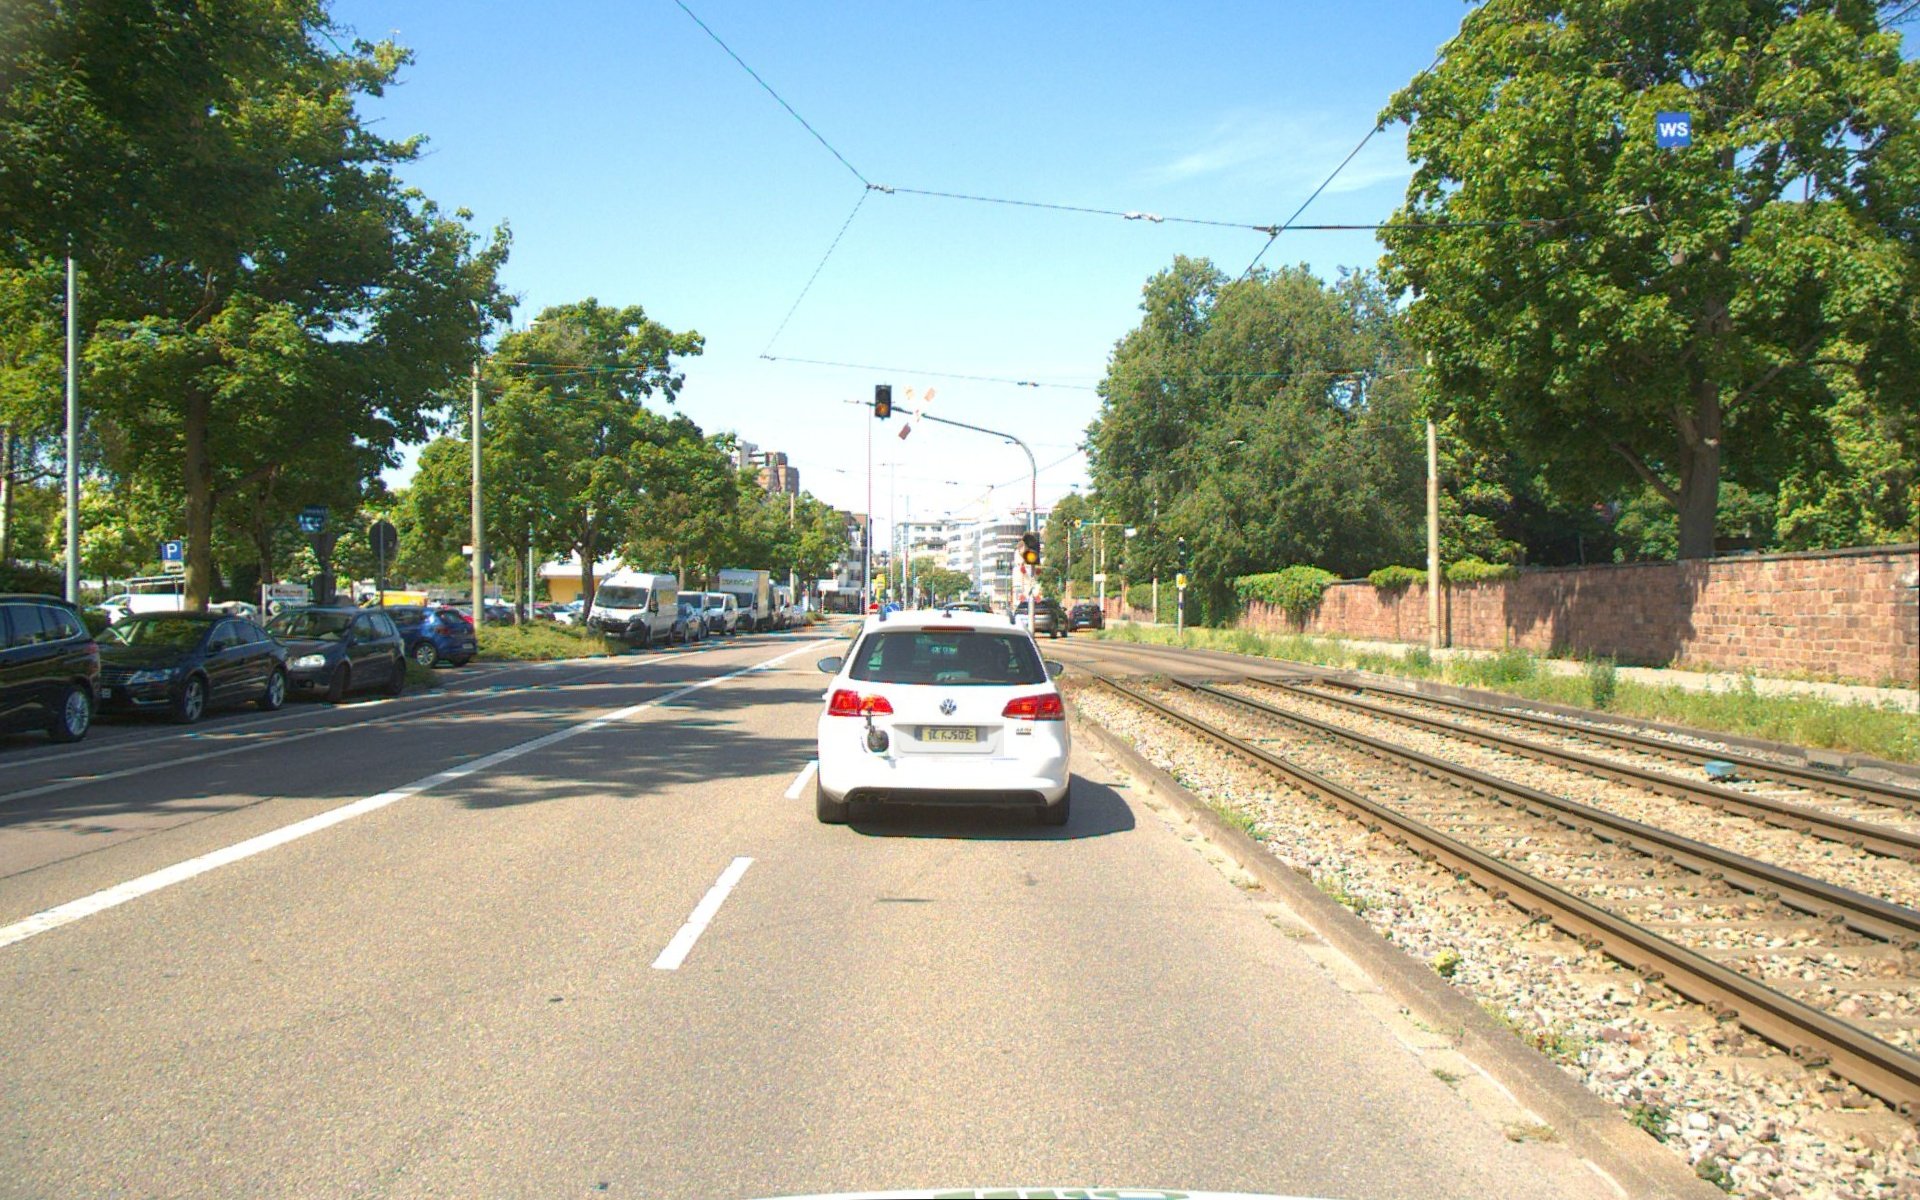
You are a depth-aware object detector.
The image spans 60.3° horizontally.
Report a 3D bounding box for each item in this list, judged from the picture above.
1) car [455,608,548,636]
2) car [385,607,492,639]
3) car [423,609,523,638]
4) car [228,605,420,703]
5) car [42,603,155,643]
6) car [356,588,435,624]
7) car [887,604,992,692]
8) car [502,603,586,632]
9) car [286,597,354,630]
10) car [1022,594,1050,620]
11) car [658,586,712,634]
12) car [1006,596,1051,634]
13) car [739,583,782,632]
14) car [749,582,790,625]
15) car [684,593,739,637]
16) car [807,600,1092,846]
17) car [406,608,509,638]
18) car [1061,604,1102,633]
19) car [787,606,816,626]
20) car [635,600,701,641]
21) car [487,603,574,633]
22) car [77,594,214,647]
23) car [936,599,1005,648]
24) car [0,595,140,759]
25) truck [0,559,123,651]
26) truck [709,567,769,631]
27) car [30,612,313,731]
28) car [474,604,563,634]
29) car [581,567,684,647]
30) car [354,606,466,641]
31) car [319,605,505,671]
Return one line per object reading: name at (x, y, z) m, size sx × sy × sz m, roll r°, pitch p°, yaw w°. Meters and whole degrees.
car at (-21.785, 1.036, 78.743) m, size 3.904 × 1.246 × 1.772 m, roll 0°, pitch 0°, yaw 2°
car at (-21.807, 0.963, 69.243) m, size 3.904 × 1.286 × 1.772 m, roll 0°, pitch 0°, yaw 2°
car at (-21.843, 1.046, 74.289) m, size 3.904 × 1.246 × 1.772 m, roll 0°, pitch 0°, yaw 2°
car at (-10.559, 0.854, 27.751) m, size 1.608 × 1.476 × 4.004 m, roll 2°, pitch 0°, yaw 0°
car at (-34.539, 0.903, 66.344) m, size 3.694 × 1.380 × 1.558 m, roll 3°, pitch 0°, yaw 3°
car at (-34.702, 0.397, 101.693) m, size 4.175 × 2.049 × 1.997 m, roll 2°, pitch -1°, yaw -7°
car at (-0.362, 0.804, 29.575) m, size 1.710 × 1.412 × 3.912 m, roll 2°, pitch 0°, yaw -1°
car at (-21.723, 0.911, 86.429) m, size 3.904 × 1.469 × 1.772 m, roll 0°, pitch 0°, yaw 2°
car at (-37.340, 0.782, 96.552) m, size 3.354 × 1.909 × 1.552 m, roll 0°, pitch 0°, yaw -3°
car at (7.743, 0.704, 168.878) m, size 2.413 × 2.542 × 5.908 m, roll 2°, pitch -1°, yaw -1°
car at (-11.744, 0.406, 70.875) m, size 1.807 × 1.971 × 5.189 m, roll 0°, pitch 0°, yaw -4°
car at (2.945, 0.627, 70.946) m, size 1.822 × 1.539 × 3.914 m, roll 2°, pitch 0°, yaw 3°
car at (-11.176, 0.411, 93.078) m, size 1.806 × 2.715 × 5.003 m, roll 0°, pitch 0°, yaw 0°
car at (-11.606, 0.184, 101.174) m, size 1.806 × 2.538 × 5.856 m, roll 0°, pitch 0°, yaw 0°
car at (-11.518, 0.669, 76.859) m, size 1.806 × 1.995 × 5.133 m, roll 0°, pitch 0°, yaw 0°
car at (-0.117, 0.771, 12.277) m, size 1.732 × 1.471 × 3.912 m, roll 2°, pitch 0°, yaw -2°
car at (-21.772, 1.004, 71.715) m, size 3.904 × 1.246 × 1.772 m, roll 0°, pitch 0°, yaw 2°
car at (6.327, 0.945, 85.600) m, size 1.708 × 1.432 × 3.916 m, roll 2°, pitch 0°, yaw 10°
car at (-11.645, 1.155, 121.544) m, size 1.744 × 1.458 × 4.037 m, roll 0°, pitch 0°, yaw -1°
car at (-11.218, 0.765, 63.778) m, size 1.806 × 1.543 × 4.196 m, roll 0°, pitch 0°, yaw -1°
car at (-21.771, 0.917, 83.883) m, size 3.904 × 1.469 × 1.772 m, roll 0°, pitch 0°, yaw 2°
car at (-33.856, 0.854, 68.877) m, size 4.602 × 2.049 × 1.997 m, roll 2°, pitch -1°, yaw -6°
car at (0.384, 0.733, 52.765) m, size 1.822 × 1.441 × 4.327 m, roll 2°, pitch 0°, yaw 5°
car at (-10.536, 0.772, 17.103) m, size 1.726 × 1.634 × 4.893 m, roll 1°, pitch 0°, yaw -1°
truck at (-33.869, 0.075, 58.654) m, size 6.999 × 3.071 × 2.230 m, roll 3°, pitch 0°, yaw -3°
truck at (-11.413, -0.030, 85.895) m, size 2.308 × 3.177 × 6.889 m, roll 0°, pitch 0°, yaw -2°
car at (-10.598, 0.895, 22.669) m, size 1.656 × 1.404 × 4.781 m, roll 0°, pitch 0°, yaw -1°
car at (-21.698, 0.935, 81.381) m, size 3.904 × 1.426 × 1.772 m, roll 0°, pitch 0°, yaw 2°
car at (-11.250, 0.226, 57.338) m, size 2.016 × 2.544 × 6.308 m, roll 2°, pitch 0°, yaw 2°
car at (-22.133, 0.926, 66.675) m, size 3.904 × 1.374 × 1.772 m, roll 0°, pitch 0°, yaw 2°
car at (-13.124, 0.907, 39.746) m, size 3.818 × 1.432 × 1.753 m, roll -1°, pitch 1°, yaw 5°
